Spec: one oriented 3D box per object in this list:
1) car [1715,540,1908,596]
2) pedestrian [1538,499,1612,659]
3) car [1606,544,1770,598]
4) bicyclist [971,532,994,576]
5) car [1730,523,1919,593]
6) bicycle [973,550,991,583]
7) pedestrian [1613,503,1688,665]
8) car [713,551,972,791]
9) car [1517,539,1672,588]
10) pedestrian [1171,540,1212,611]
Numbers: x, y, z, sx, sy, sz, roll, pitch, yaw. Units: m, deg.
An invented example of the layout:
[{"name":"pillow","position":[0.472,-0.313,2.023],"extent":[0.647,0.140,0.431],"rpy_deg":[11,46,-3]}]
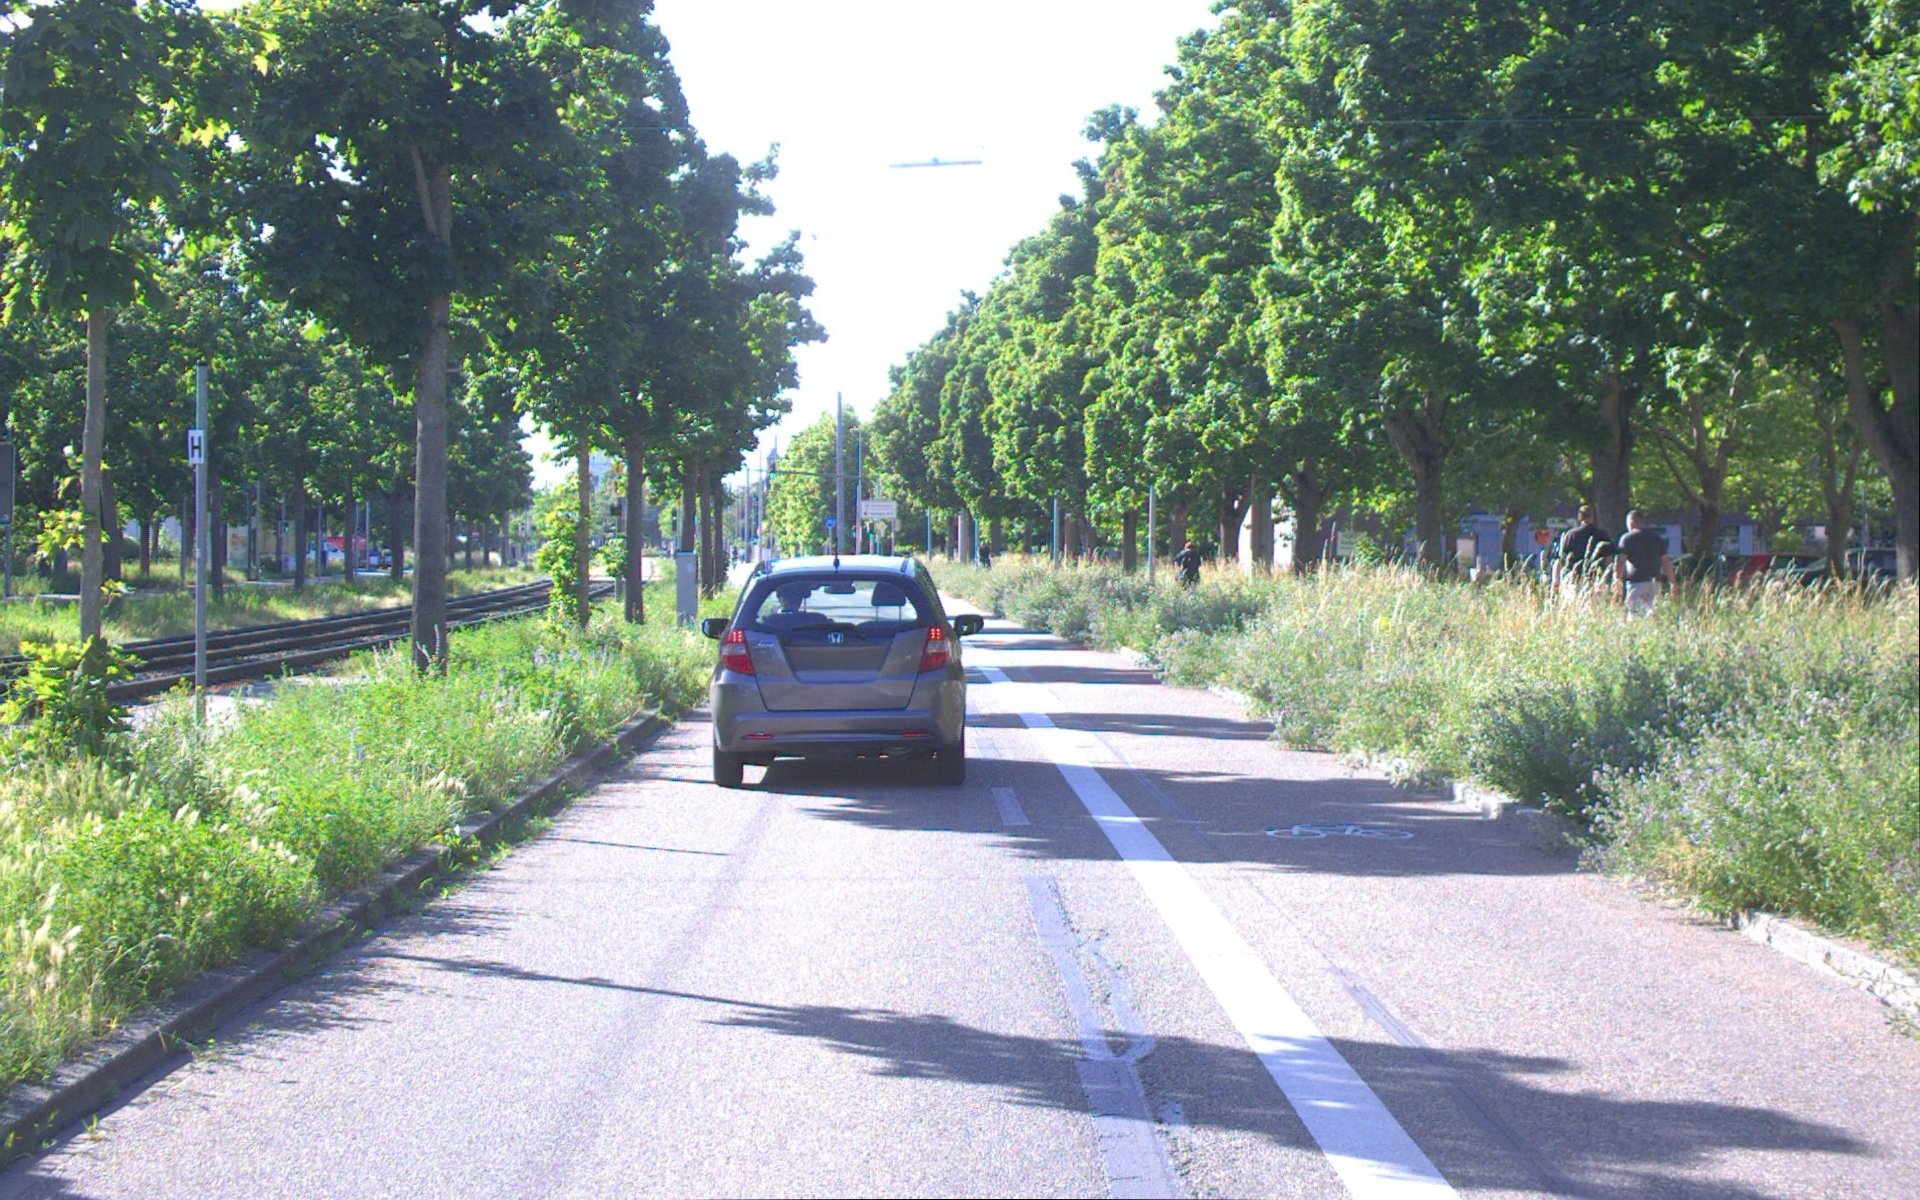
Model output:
[{"name":"car","position":[20.871,-0.796,84.374],"extent":[4.293,1.319,1.940],"rpy_deg":[0,2,3]},{"name":"pedestrian","position":[7.461,-0.261,41.733],"extent":[0.708,1.911,0.817],"rpy_deg":[1,1,0]},{"name":"car","position":[20.268,-0.814,95.836],"extent":[4.165,1.427,1.824],"rpy_deg":[1,1,1]},{"name":"bicyclist","position":[0.877,-1.788,133.567],"extent":[0.683,1.714,0.903],"rpy_deg":[0,0,-12]},{"name":"car","position":[20.169,-0.968,79.160],"extent":[4.391,1.591,1.884],"rpy_deg":[0,1,-5]},{"name":"bicycle","position":[0.859,-1.293,133.427],"extent":[0.483,1.200,2.144],"rpy_deg":[0,-1,-6]},{"name":"pedestrian","position":[8.358,-0.198,41.649],"extent":[0.708,1.924,0.817],"rpy_deg":[1,1,0]},{"name":"car","position":[-0.855,0.425,23.668],"extent":[1.624,1.494,3.457],"rpy_deg":[-1,1,-3]},{"name":"car","position":[19.131,-1.114,103.765],"extent":[4.356,1.454,1.689],"rpy_deg":[0,1,1]},{"name":"pedestrian","position":[5.200,-0.552,77.237],"extent":[0.824,1.563,0.762],"rpy_deg":[1,1,-1]}]
